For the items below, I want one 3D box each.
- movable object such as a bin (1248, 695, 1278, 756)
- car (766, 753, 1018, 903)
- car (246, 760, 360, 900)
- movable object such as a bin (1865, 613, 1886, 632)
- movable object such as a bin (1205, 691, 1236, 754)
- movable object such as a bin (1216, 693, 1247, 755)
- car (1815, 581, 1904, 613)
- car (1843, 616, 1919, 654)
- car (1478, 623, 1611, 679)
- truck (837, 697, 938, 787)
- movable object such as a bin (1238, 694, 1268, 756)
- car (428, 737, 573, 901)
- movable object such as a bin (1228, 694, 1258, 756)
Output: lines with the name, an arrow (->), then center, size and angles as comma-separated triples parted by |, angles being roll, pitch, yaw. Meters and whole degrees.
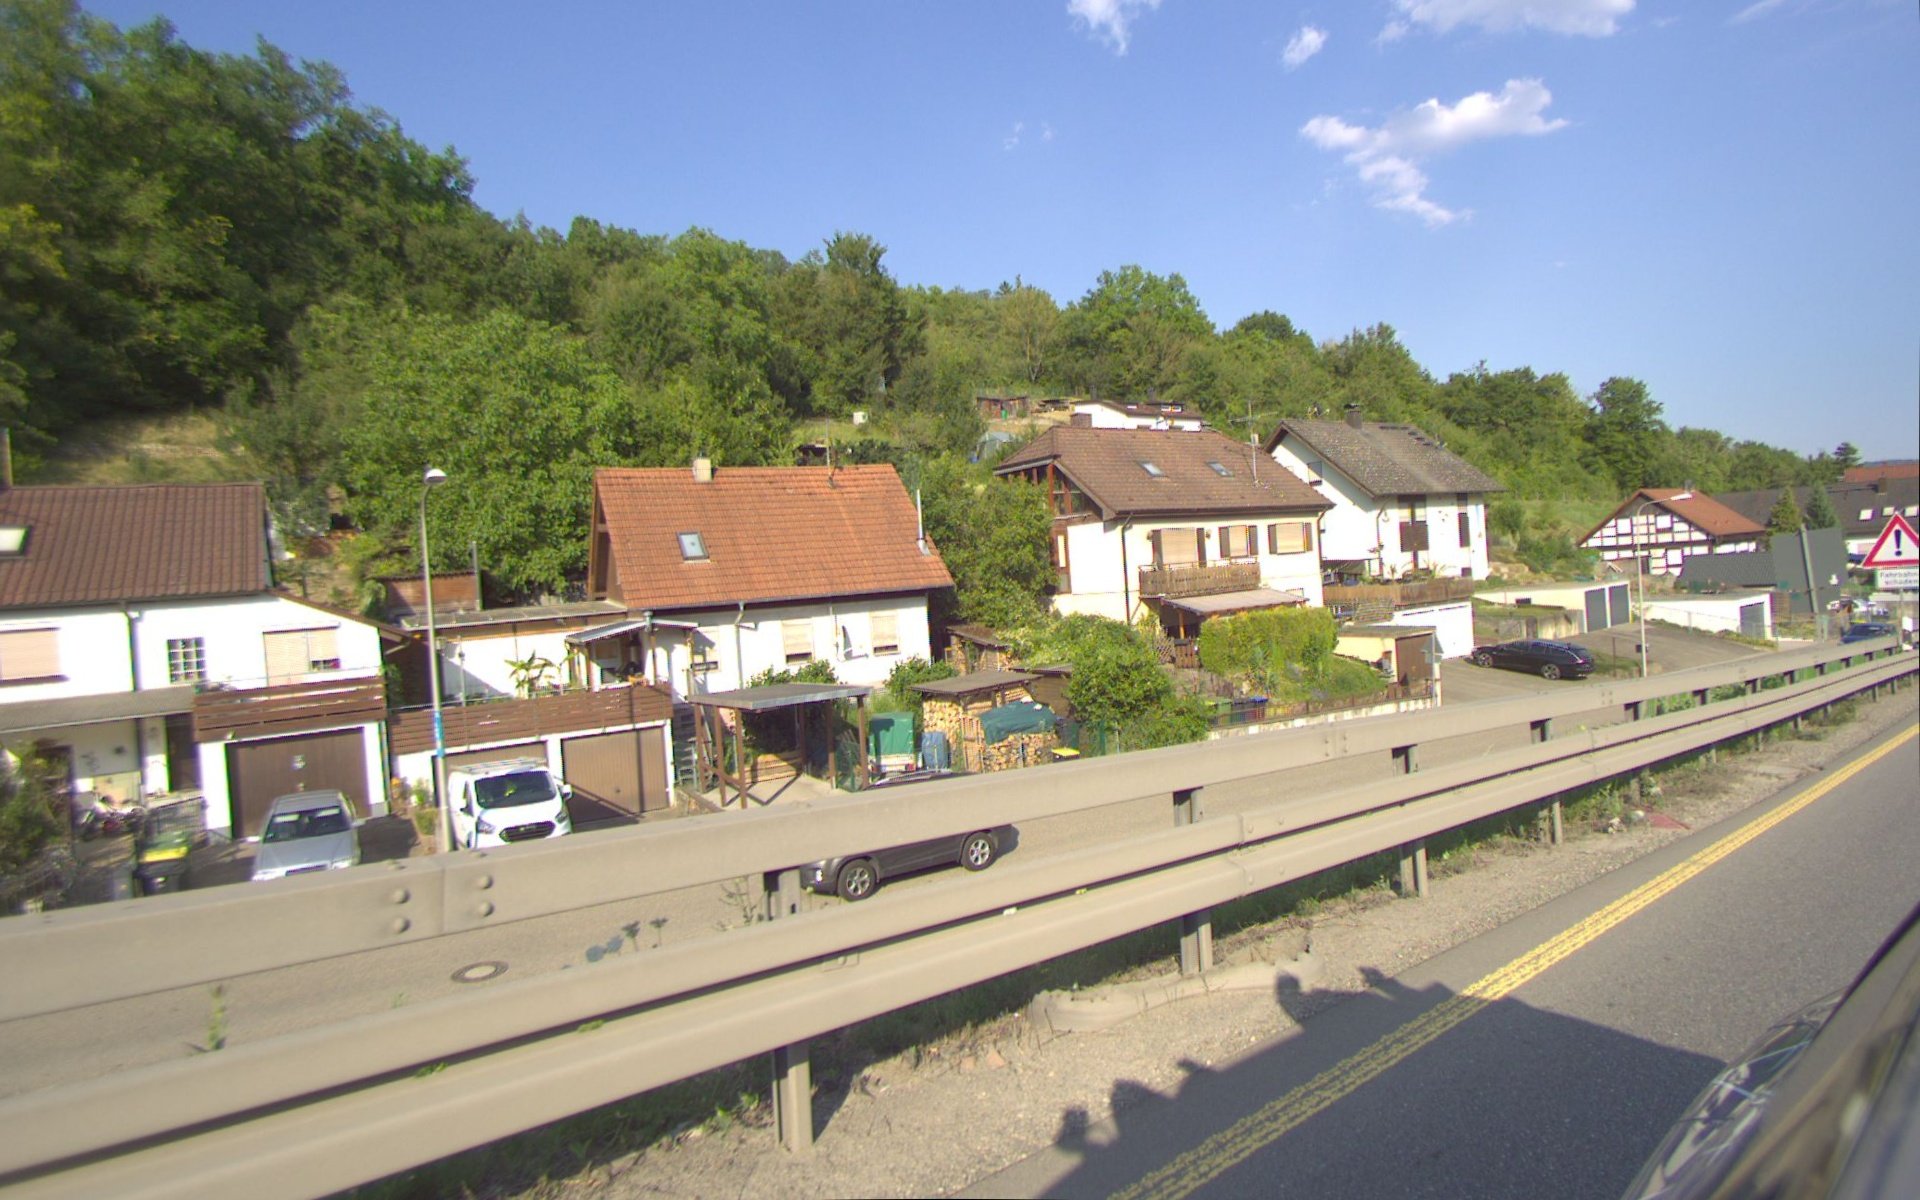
movable object such as a bin -> 9.197, 3.817, 30.728 | 0.406, 1.794, 0.491 | -3, -8, -29
car -> -1.232, 4.185, 19.254 | 4.412, 1.807, 1.869 | -2, 1, -33
car -> -13.277, 4.466, 20.430 | 1.683, 1.576, 5.108 | -2, 1, -34
movable object such as a bin -> 50.251, 1.217, 55.558 | 0.665, 1.014, 0.724 | -1, -1, -36
movable object such as a bin -> 7.709, 3.627, 29.945 | 0.408, 1.794, 0.531 | -3, -8, -29
movable object such as a bin -> 8.090, 3.692, 30.135 | 0.400, 1.794, 0.537 | -3, -8, -29
car -> 58.540, -0.222, 65.934 | 1.717, 1.861, 4.001 | -3, 4, -35
car -> 44.199, 1.662, 48.327 | 3.544, 1.620, 1.774 | 0, -7, -29
car -> 25.085, 2.126, 43.589 | 1.962, 1.542, 4.516 | -3, 8, -32
truck -> -1.900, 3.824, 27.826 | 1.966, 1.759, 3.993 | -7, -1, 6
movable object such as a bin -> 8.836, 3.775, 30.518 | 0.406, 1.794, 0.491 | -3, -8, -29
car -> -10.117, 4.527, 22.008 | 1.962, 2.292, 5.485 | -2, 1, -34
movable object such as a bin -> 8.472, 3.757, 30.334 | 0.406, 1.794, 0.491 | -3, -8, -29
